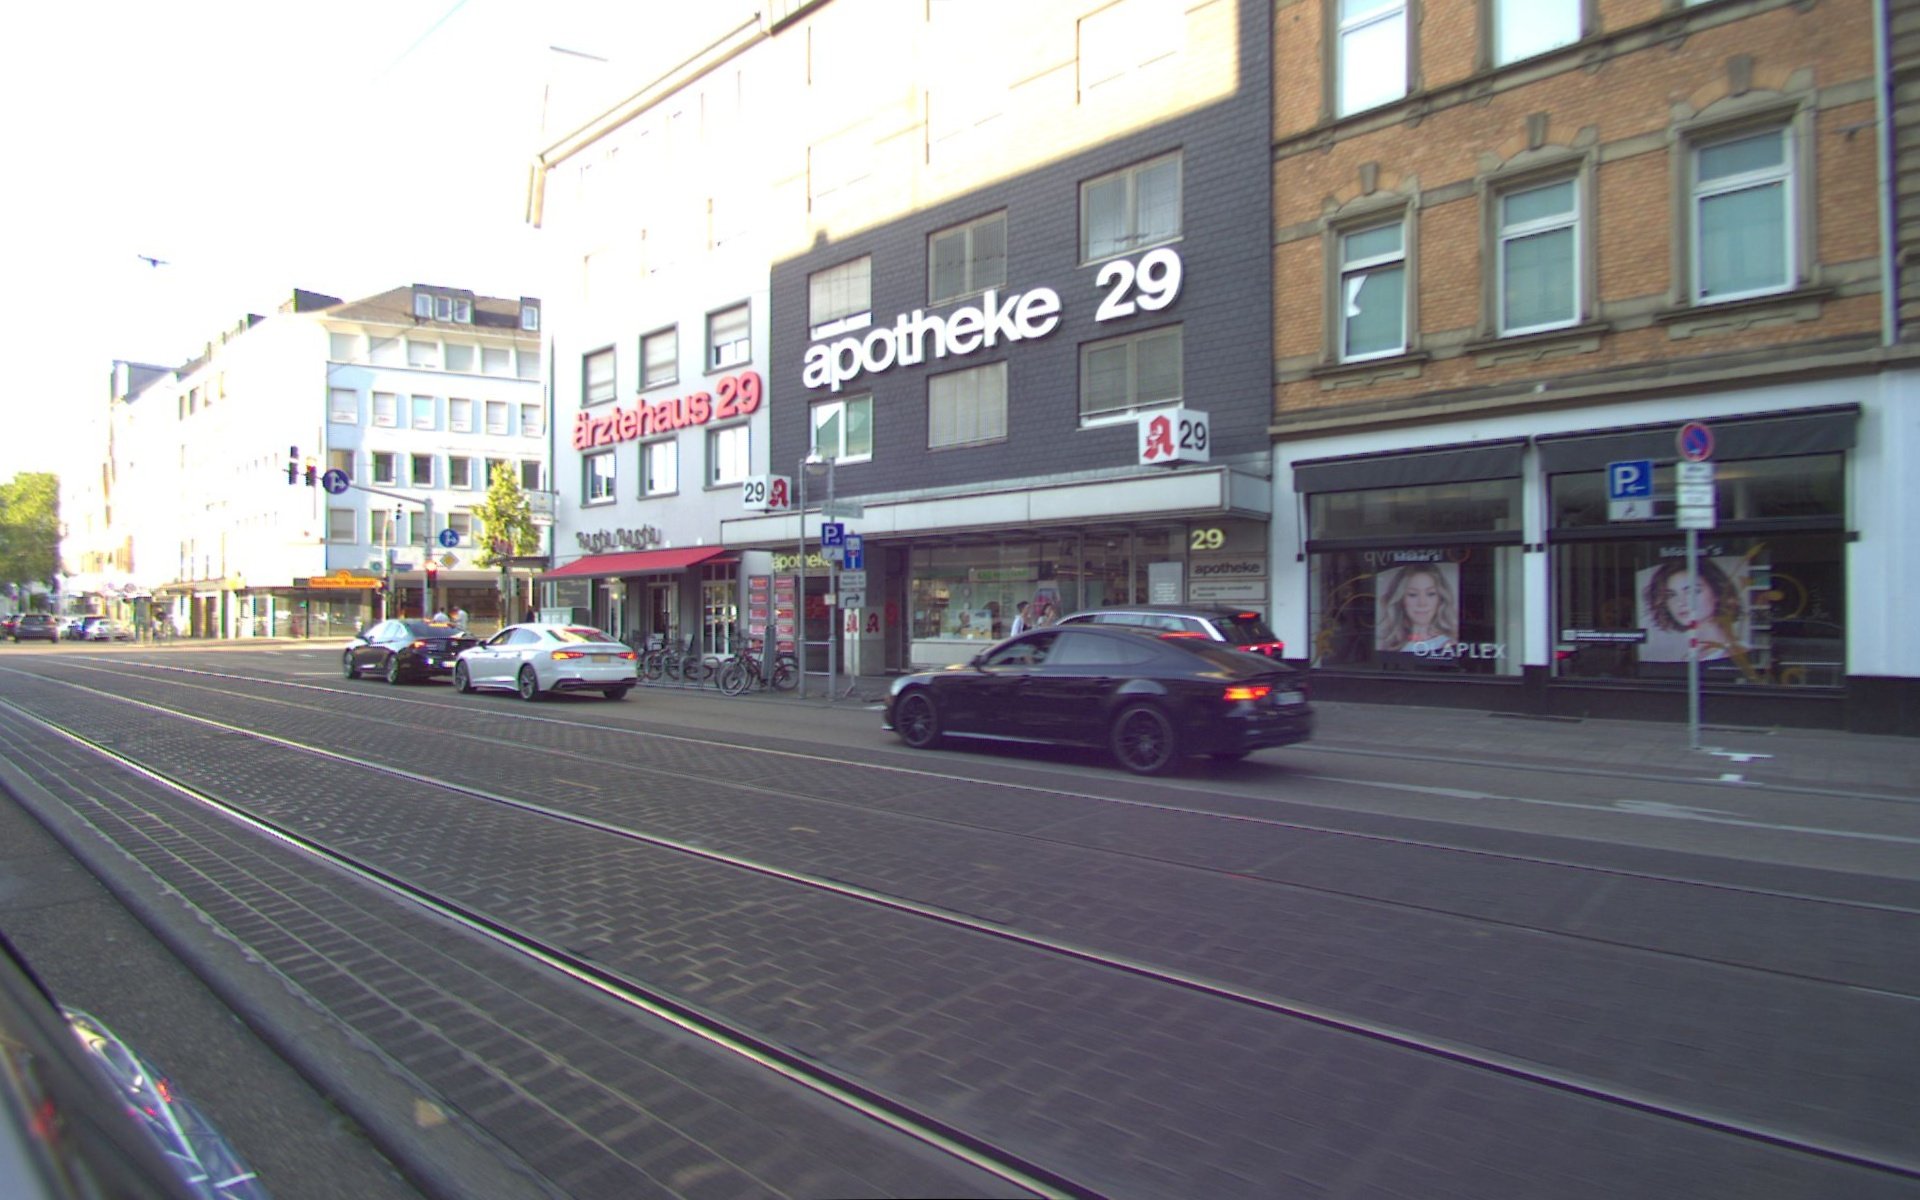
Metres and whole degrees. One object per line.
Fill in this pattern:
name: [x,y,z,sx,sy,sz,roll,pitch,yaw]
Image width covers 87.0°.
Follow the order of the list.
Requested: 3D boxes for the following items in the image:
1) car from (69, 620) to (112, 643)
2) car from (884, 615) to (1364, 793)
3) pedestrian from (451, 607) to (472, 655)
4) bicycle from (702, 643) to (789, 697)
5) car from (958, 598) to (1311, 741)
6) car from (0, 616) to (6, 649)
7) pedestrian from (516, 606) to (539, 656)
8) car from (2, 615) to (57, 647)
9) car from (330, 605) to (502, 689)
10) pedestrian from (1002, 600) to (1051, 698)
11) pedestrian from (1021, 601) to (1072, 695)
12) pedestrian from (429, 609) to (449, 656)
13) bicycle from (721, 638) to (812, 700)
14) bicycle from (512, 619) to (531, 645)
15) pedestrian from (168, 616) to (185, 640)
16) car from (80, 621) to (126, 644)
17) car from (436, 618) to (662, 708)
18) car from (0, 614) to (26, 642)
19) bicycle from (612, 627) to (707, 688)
car: [-55.440,2.001,64.486,3.387,1.364,1.615,-2,0,42]
car: [1.535,0.921,10.606,4.646,1.464,1.973,-1,-3,41]
pedestrian: [-18.980,1.184,38.512,0.627,1.792,0.602,0,-3,-33]
bicycle: [-4.327,1.400,20.512,0.455,0.919,1.786,-3,0,41]
car: [2.312,0.869,14.341,4.646,1.687,1.909,-2,0,44]
car: [-44.686,1.468,44.462,1.697,1.483,3.980,-1,-1,4]
pedestrian: [-14.896,1.059,34.823,0.701,1.689,0.705,0,-1,-25]
car: [-51.730,1.716,56.255,4.258,1.711,1.803,-1,-2,42]
car: [-12.553,1.049,23.211,4.727,1.740,1.972,-1,-3,42]
pedestrian: [1.182,0.856,18.086,0.602,1.712,0.614,-2,-2,41]
pedestrian: [1.596,0.866,18.613,0.624,1.673,0.675,-2,-2,41]
pedestrian: [-19.601,1.219,38.076,0.627,1.758,0.671,0,-1,-32]
bicycle: [-3.778,1.329,19.877,0.489,1.055,1.812,-3,0,41]
bicycle: [-22.518,1.623,51.984,0.629,1.262,2.382,1,0,-30]
pedestrian: [-49.149,1.752,63.472,0.621,1.483,0.539,-2,1,25]
car: [-52.035,1.988,61.448,3.387,1.263,1.615,-2,0,42]
car: [-7.783,1.118,18.962,4.653,1.464,1.973,-1,-3,41]
car: [-61.006,1.779,64.288,4.564,1.711,1.783,-1,-1,39]
bicycle: [-6.832,1.283,23.103,0.553,1.233,2.090,-1,1,41]
